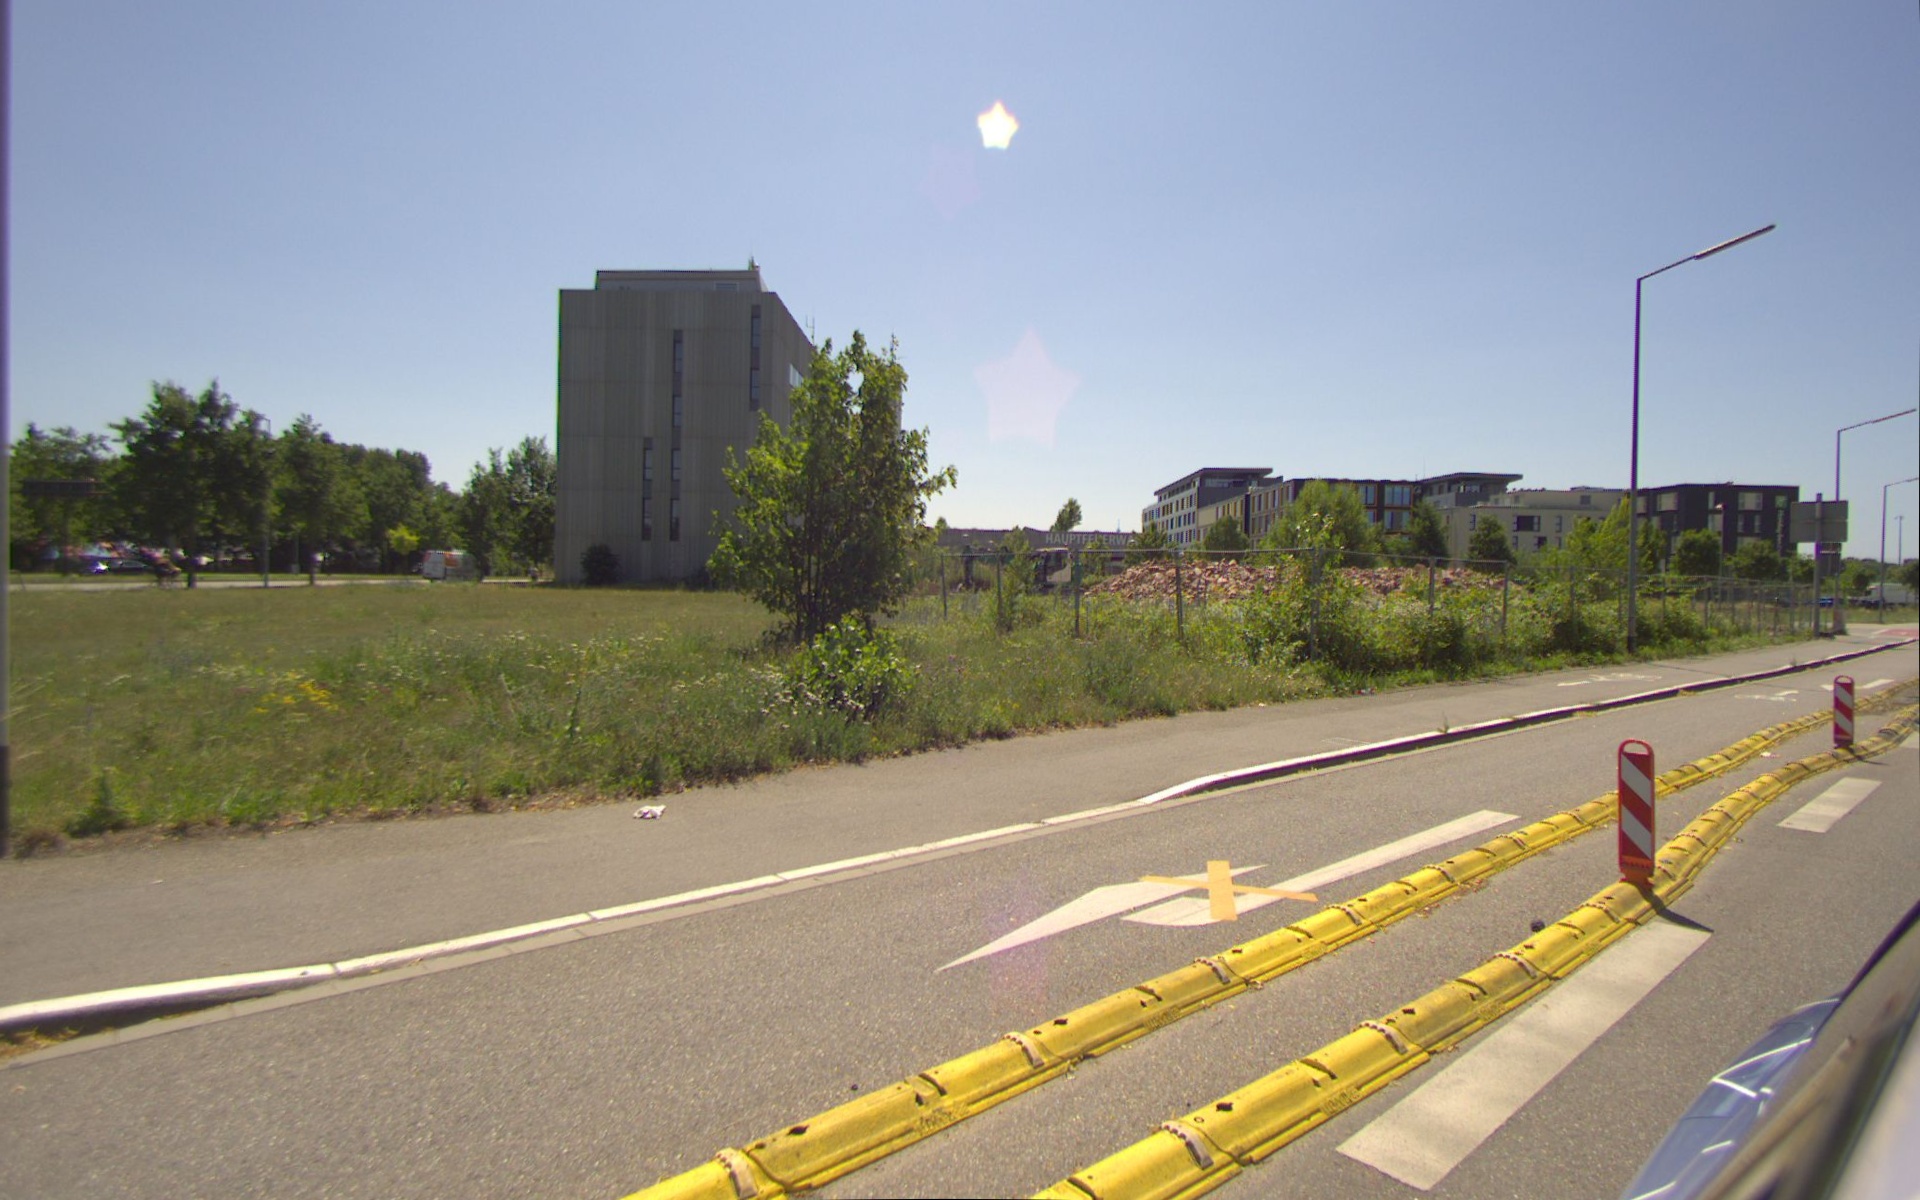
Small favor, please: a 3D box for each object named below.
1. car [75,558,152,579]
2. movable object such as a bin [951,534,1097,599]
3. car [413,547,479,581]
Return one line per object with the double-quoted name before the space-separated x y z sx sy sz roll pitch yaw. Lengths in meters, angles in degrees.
"car" -61.389 -2.291 73.458 1.830 1.440 4.407 1 1 2
"movable object such as a bin" 3.424 -1.708 53.093 7.458 3.188 2.815 -1 0 -34
"car" -42.463 -2.919 83.866 2.220 2.622 6.394 0 0 0
